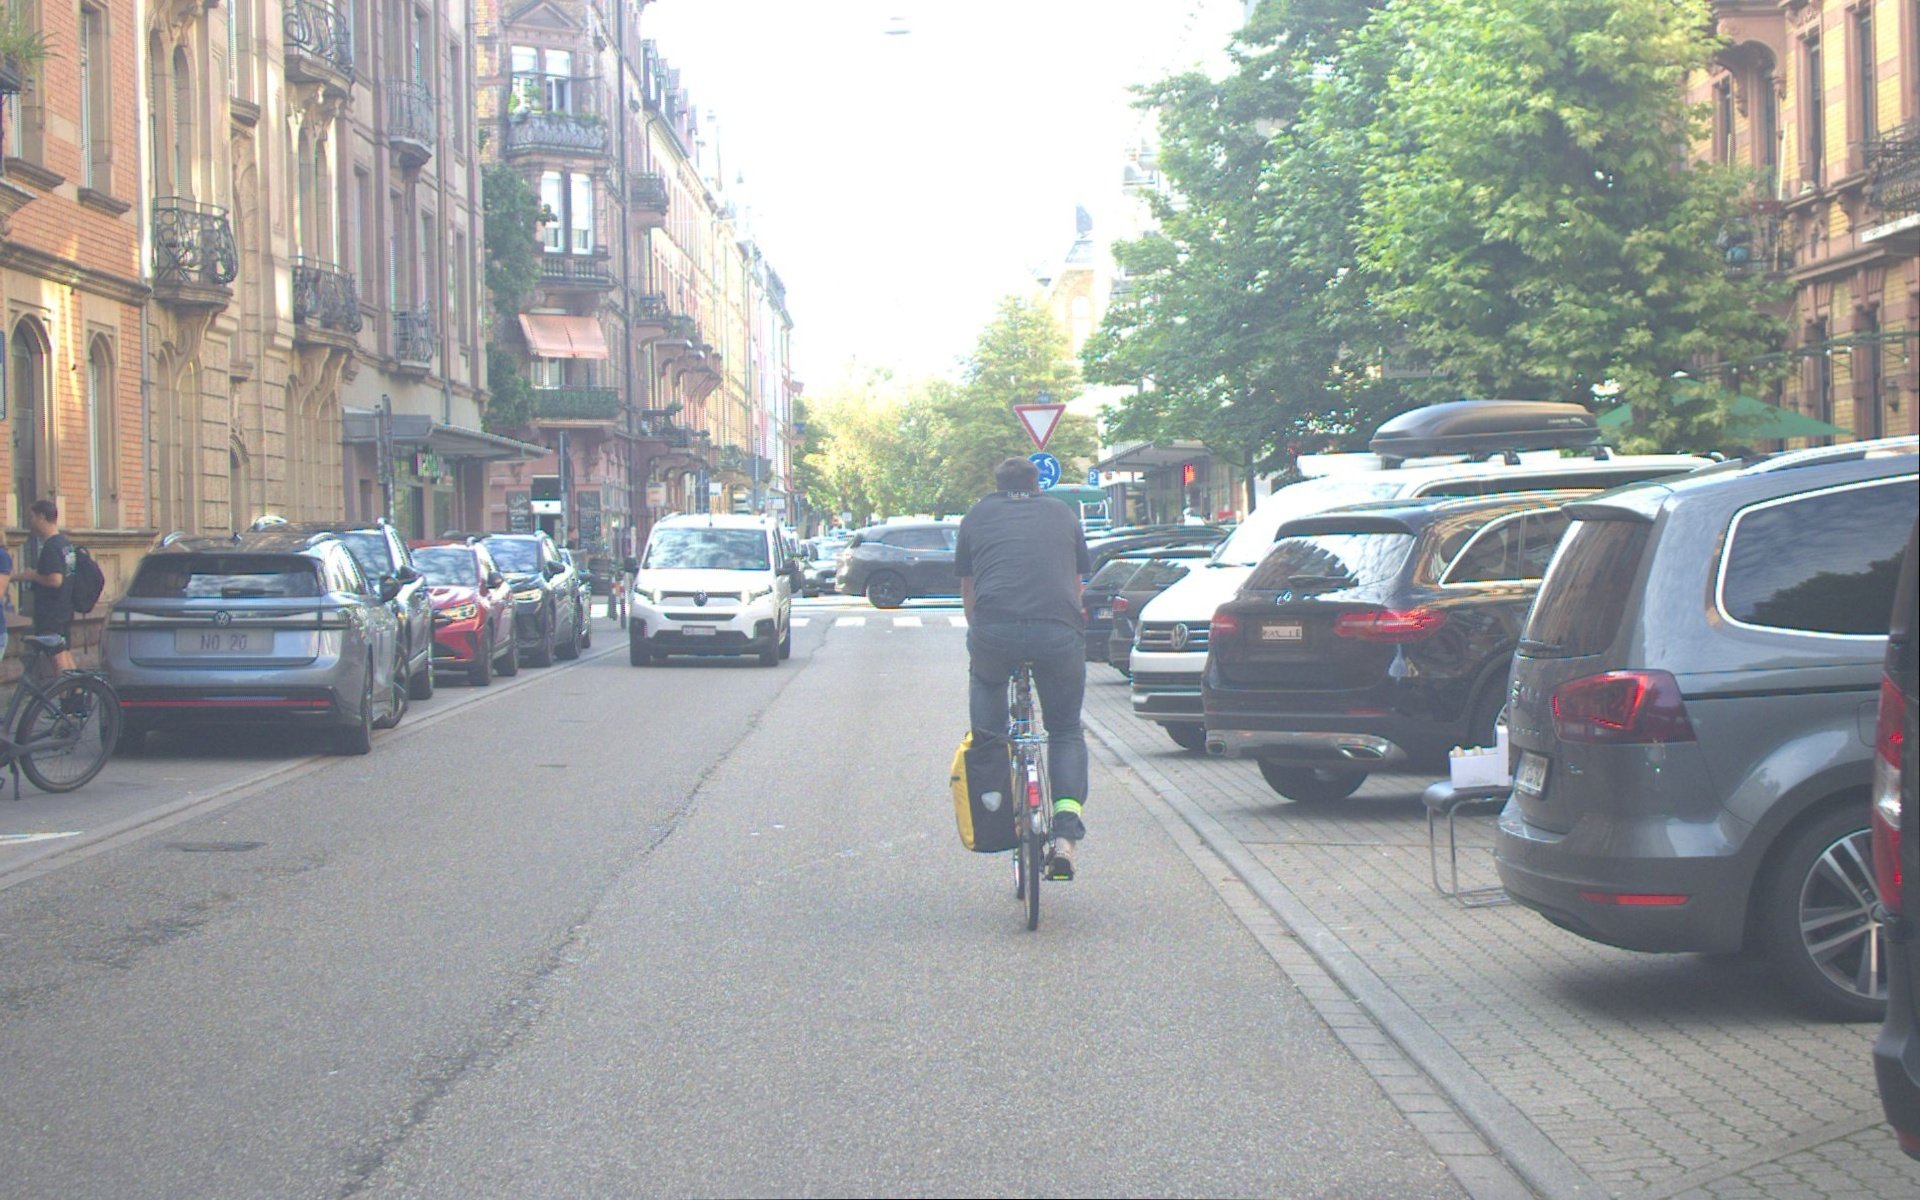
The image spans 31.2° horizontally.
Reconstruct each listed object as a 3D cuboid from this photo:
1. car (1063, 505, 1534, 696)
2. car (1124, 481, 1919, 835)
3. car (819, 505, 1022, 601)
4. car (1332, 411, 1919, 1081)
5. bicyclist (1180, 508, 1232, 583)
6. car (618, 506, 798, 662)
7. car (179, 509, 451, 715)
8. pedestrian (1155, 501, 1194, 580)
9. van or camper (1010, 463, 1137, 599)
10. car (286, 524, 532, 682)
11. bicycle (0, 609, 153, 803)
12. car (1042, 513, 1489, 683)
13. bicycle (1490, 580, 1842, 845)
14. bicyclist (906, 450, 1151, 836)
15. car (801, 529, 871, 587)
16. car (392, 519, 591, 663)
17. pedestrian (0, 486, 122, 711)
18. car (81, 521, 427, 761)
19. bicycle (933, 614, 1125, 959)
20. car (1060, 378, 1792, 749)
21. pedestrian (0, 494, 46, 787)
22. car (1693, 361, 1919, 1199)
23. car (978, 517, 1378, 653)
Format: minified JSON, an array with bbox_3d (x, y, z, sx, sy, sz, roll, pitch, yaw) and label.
[{"bbox_3d":[3.320,-0.038,33.190,4.456,1.472,1.889,-6,4,-40],"label":"car"},{"bbox_3d":[3.267,0.224,18.854,4.444,1.726,2.000,-1,2,-35],"label":"car"},{"bbox_3d":[-0.798,-0.938,68.393,3.986,1.875,2.000,0,1,-1],"label":"car"},{"bbox_3d":[3.637,0.283,10.679,4.636,1.778,1.810,-4,3,-2],"label":"car"},{"bbox_3d":[5.484,-1.213,76.642,0.788,1.660,0.857,0,1,-39],"label":"bicyclist"},{"bbox_3d":[-3.059,-0.233,42.515,1.917,1.822,4.438,0,1,0],"label":"car"},{"bbox_3d":[-5.687,0.036,30.843,1.872,1.675,4.895,0,2,-4],"label":"car"},{"bbox_3d":[5.051,-1.397,80.821,0.869,1.845,0.612,-1,1,5],"label":"pedestrian"},{"bbox_3d":[2.602,-1.613,79.876,2.531,3.027,4.459,-1,1,-3],"label":"van or camper"},{"bbox_3d":[-5.782,0.001,36.580,1.993,1.539,4.427,-1,1,-2],"label":"car"},{"bbox_3d":[-5.362,0.589,19.486,0.482,1.055,1.902,1,1,23],"label":"bicycle"},{"bbox_3d":[3.245,-0.060,36.093,4.455,1.459,1.879,-4,3,-35],"label":"car"},{"bbox_3d":[3.330,0.505,16.389,0.404,1.178,1.918,-3,1,-32],"label":"bicycle"},{"bbox_3d":[0.258,0.159,13.590,0.933,1.478,0.747,0,1,-1],"label":"bicyclist"},{"bbox_3d":[-3.206,-1.072,88.390,1.750,1.431,4.212,0,0,-2],"label":"car"},{"bbox_3d":[-5.660,-0.140,42.052,1.790,1.623,4.848,-1,1,-1],"label":"car"},{"bbox_3d":[-7.343,-0.018,28.063,0.756,1.802,0.863,0,1,3],"label":"pedestrian"},{"bbox_3d":[-5.041,0.222,25.191,1.825,1.573,5.264,0,1,-4],"label":"car"},{"bbox_3d":[0.236,0.670,13.513,0.665,1.174,2.497,0,1,-1],"label":"bicycle"},{"bbox_3d":[3.409,-0.330,24.654,5.144,2.397,1.918,-3,1,-33],"label":"car"},{"bbox_3d":[-5.776,0.228,20.238,0.564,1.703,0.667,0,1,-35],"label":"pedestrian"},{"bbox_3d":[3.751,0.364,6.933,4.390,1.816,1.755,-4,1,-32],"label":"car"},{"bbox_3d":[2.833,-0.233,44.512,4.753,1.452,2.057,-4,3,-28],"label":"car"}]
